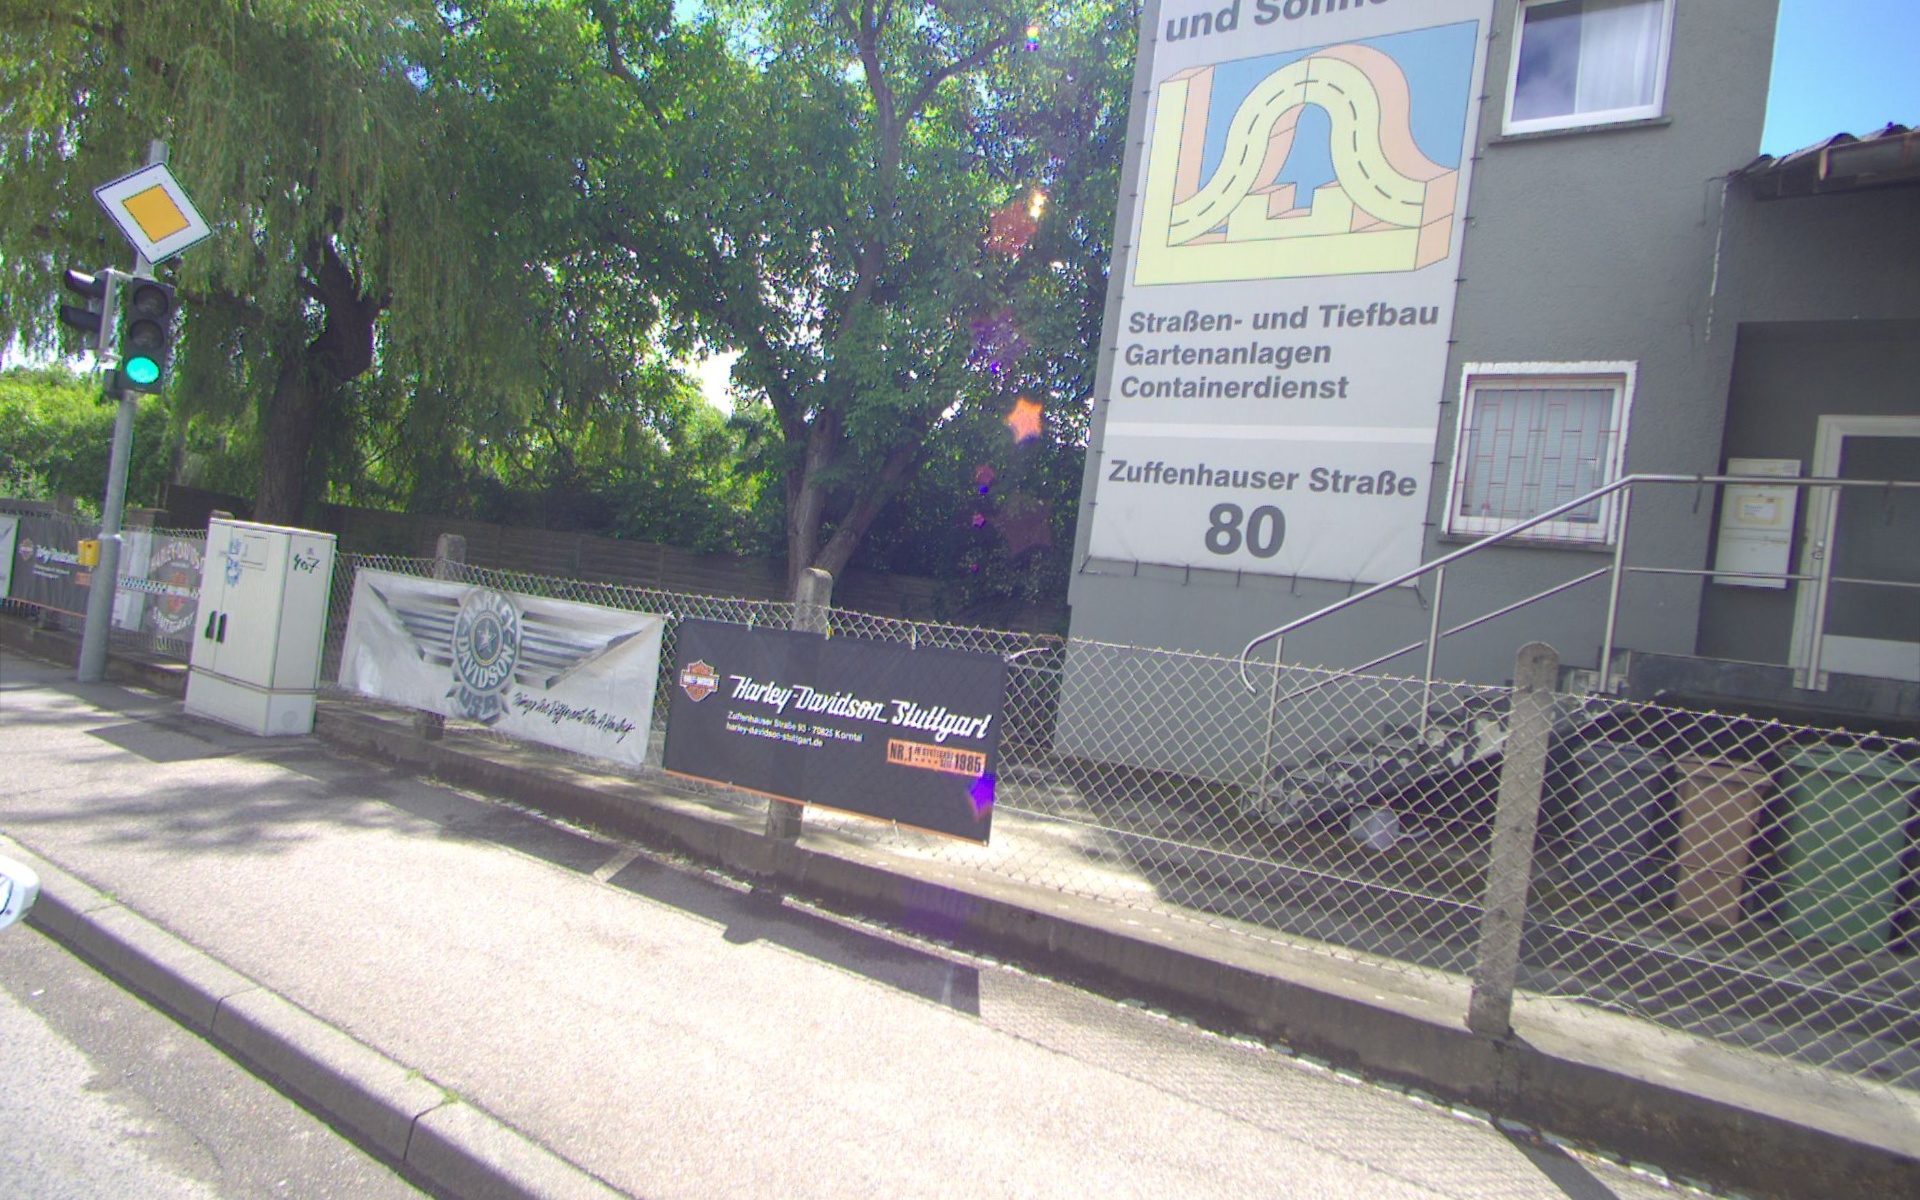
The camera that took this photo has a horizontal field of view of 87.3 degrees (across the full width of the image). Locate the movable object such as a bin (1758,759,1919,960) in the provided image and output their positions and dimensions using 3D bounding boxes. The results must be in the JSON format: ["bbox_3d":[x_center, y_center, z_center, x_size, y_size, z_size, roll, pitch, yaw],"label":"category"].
[{"bbox_3d":[4.920,1.416,5.625,0.574,0.941,0.482,6,-1,30],"label":"movable object such as a bin"}]

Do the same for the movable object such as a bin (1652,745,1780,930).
[{"bbox_3d":[4.424,1.366,5.916,0.466,0.941,0.482,6,-1,30],"label":"movable object such as a bin"}]

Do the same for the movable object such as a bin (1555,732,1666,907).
[{"bbox_3d":[3.979,1.322,6.180,0.466,0.941,0.482,6,-1,30],"label":"movable object such as a bin"}]
